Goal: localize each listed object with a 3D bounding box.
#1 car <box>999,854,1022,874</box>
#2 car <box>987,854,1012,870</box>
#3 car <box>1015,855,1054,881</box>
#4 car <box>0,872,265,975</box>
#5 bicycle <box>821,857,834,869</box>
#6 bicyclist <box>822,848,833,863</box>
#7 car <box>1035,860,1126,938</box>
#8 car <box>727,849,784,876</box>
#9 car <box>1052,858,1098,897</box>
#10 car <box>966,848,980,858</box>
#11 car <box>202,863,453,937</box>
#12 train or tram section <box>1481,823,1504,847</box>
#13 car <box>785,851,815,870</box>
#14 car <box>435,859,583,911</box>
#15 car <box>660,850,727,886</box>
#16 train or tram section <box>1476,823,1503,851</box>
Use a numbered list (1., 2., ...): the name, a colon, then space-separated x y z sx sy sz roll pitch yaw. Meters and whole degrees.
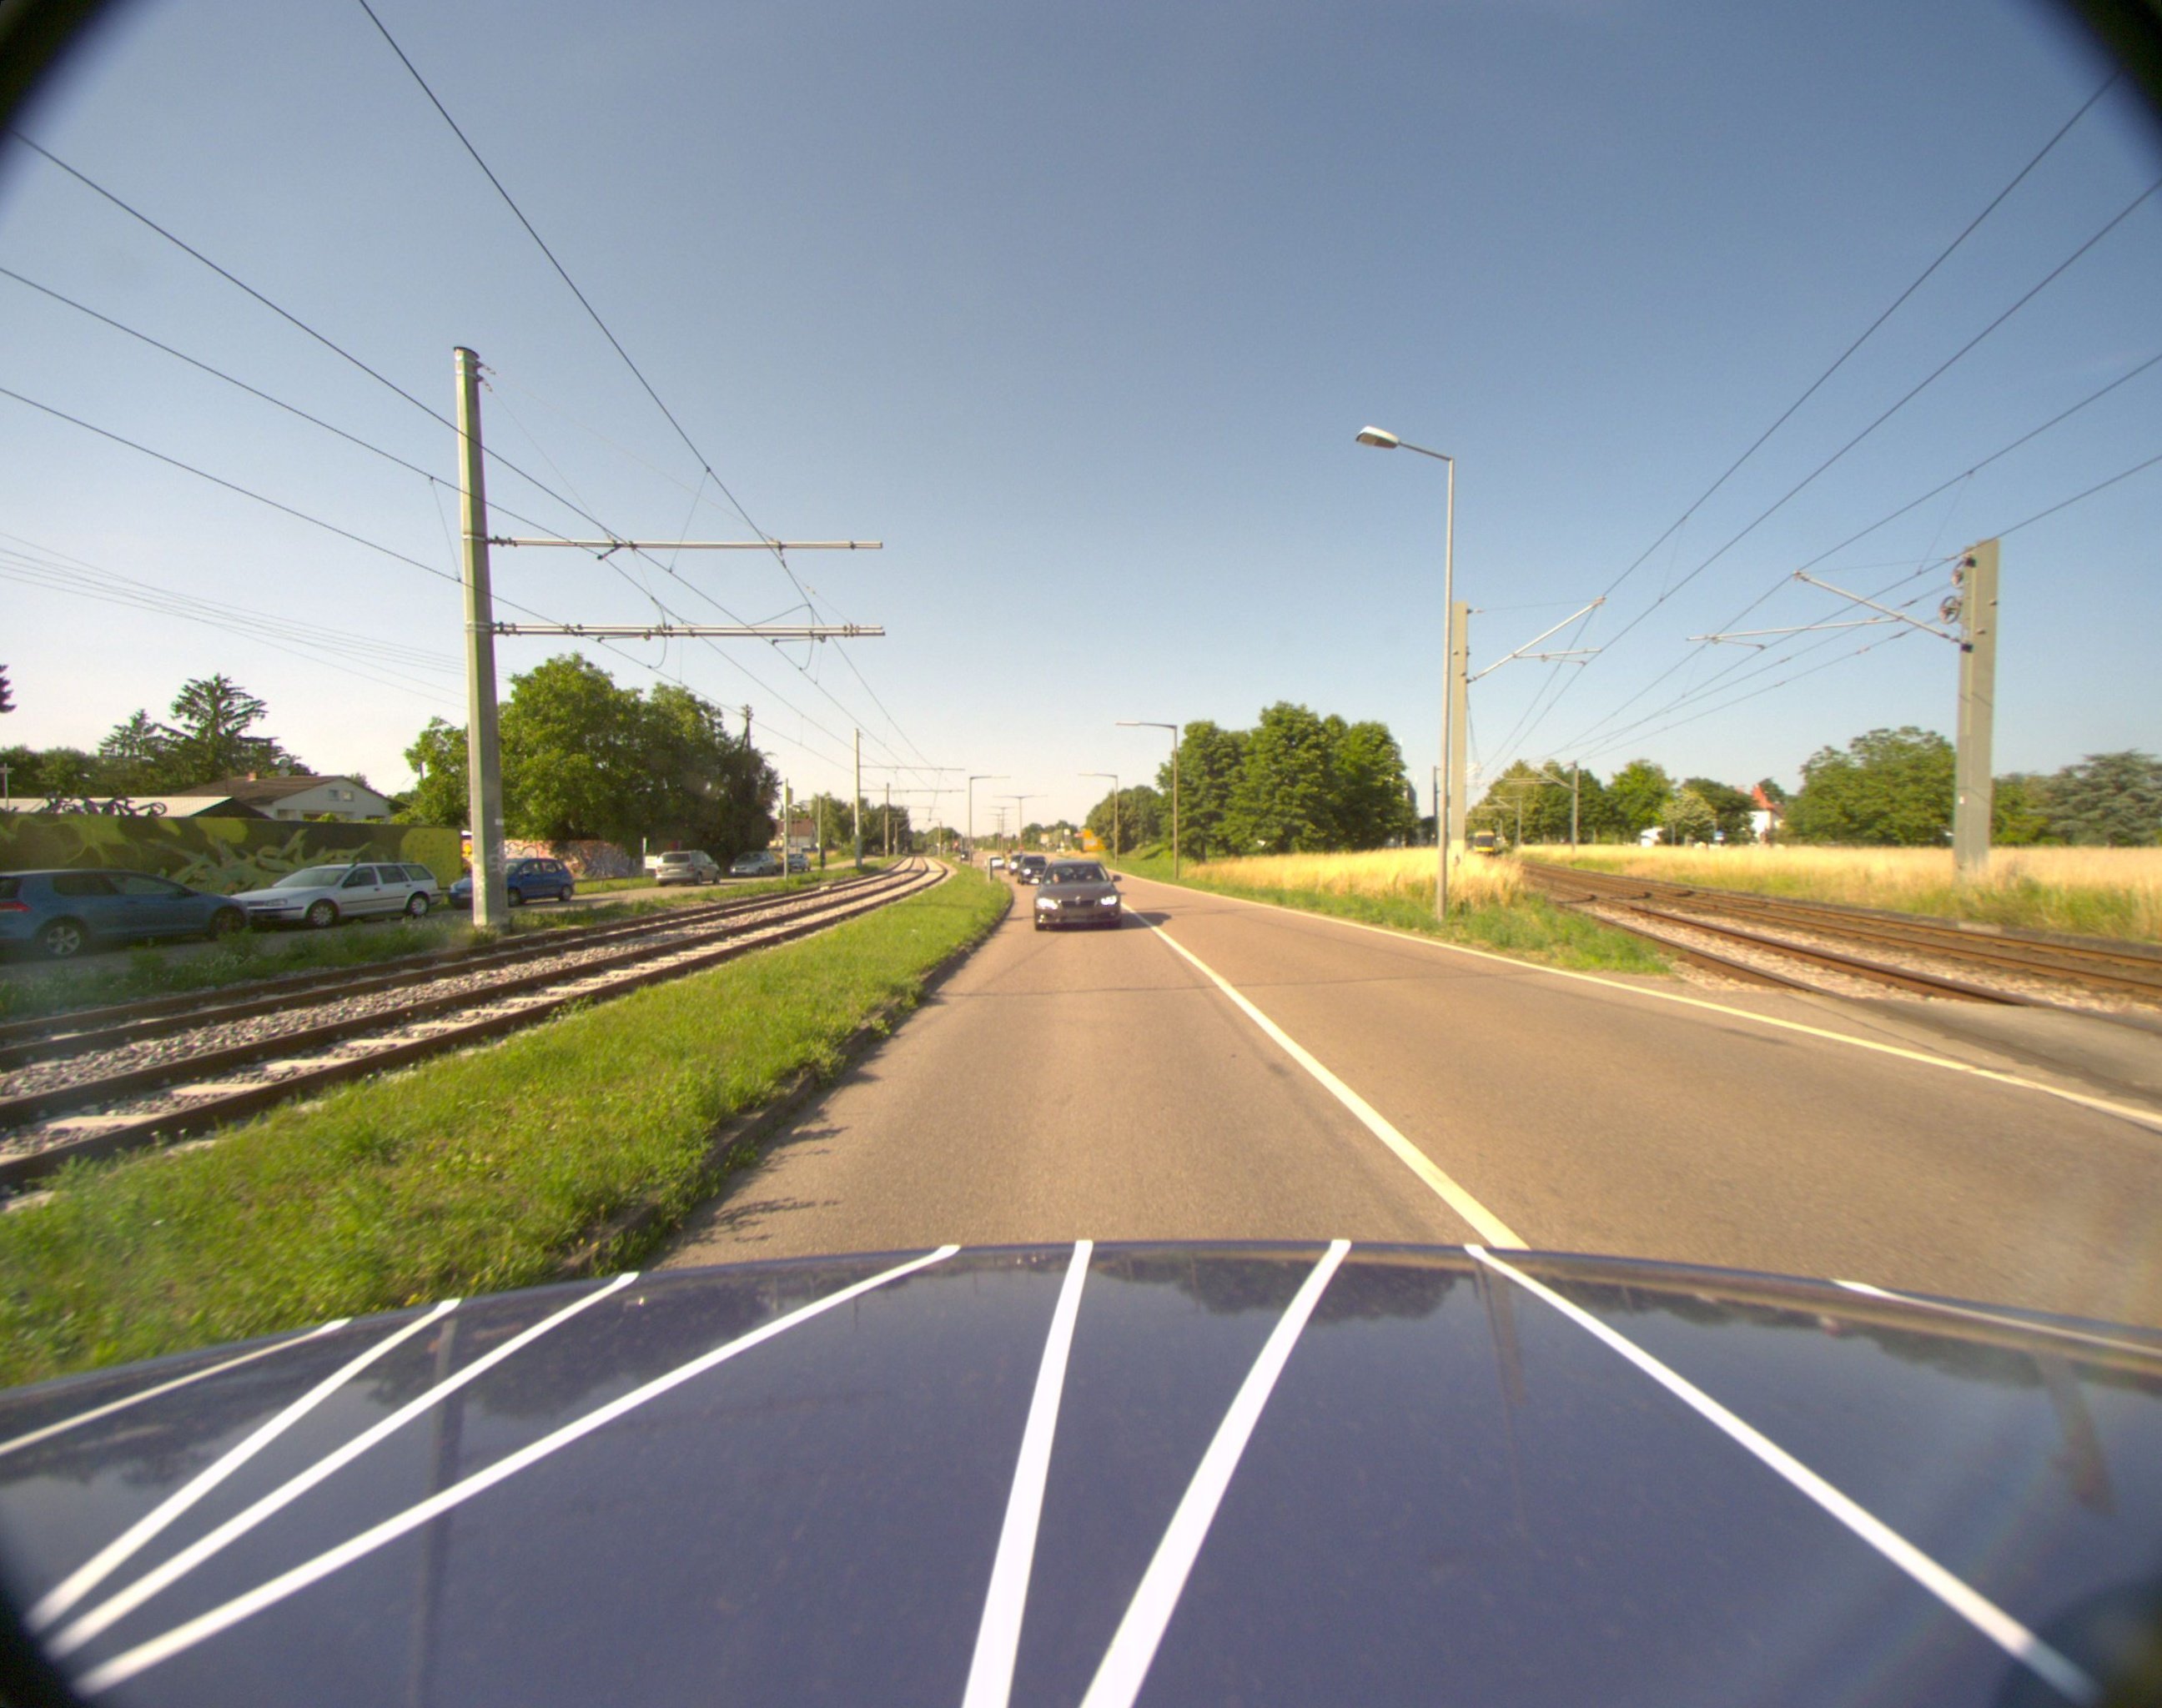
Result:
1. car: -5.710 0.758 61.561 1.608 1.504 4.264 -2 1 -8
2. car: -8.531 0.799 79.235 1.970 1.609 4.302 -1 1 -14
3. car: -2.703 0.778 43.599 1.849 1.347 4.151 -2 1 -8
4. car: -17.072 1.095 13.277 1.489 1.393 4.147 -1 1 -7
5. bicycle: -20.711 0.708 62.102 0.645 0.904 1.812 -2 1 -9
6. bicyclist: -20.725 0.141 62.094 0.641 1.226 0.790 -2 1 -9
7. car: -0.119 0.901 16.891 1.748 1.444 3.945 -2 0 -3
8. car: -20.487 0.500 48.029 1.913 1.581 4.725 0 0 -4
9. car: -0.288 0.914 31.446 1.711 1.444 4.589 -2 0 -1
10. car: -16.639 -0.128 116.718 1.839 1.504 4.148 -2 1 -12
11. car: -17.671 0.991 18.190 1.714 1.457 4.388 0 0 -2
12. train or tram section: 64.962 -3.065 119.820 2.919 3.434 12.185 -1 2 30
13. car: -22.148 0.458 60.055 1.539 1.440 4.127 0 0 -11
14. car: -18.006 0.913 24.168 1.682 1.422 3.911 -2 0 0
15. car: -18.339 0.599 36.144 1.527 1.601 4.480 0 0 -9
16. train or tram section: 58.332 -2.525 108.329 2.908 3.549 14.282 -1 3 30
